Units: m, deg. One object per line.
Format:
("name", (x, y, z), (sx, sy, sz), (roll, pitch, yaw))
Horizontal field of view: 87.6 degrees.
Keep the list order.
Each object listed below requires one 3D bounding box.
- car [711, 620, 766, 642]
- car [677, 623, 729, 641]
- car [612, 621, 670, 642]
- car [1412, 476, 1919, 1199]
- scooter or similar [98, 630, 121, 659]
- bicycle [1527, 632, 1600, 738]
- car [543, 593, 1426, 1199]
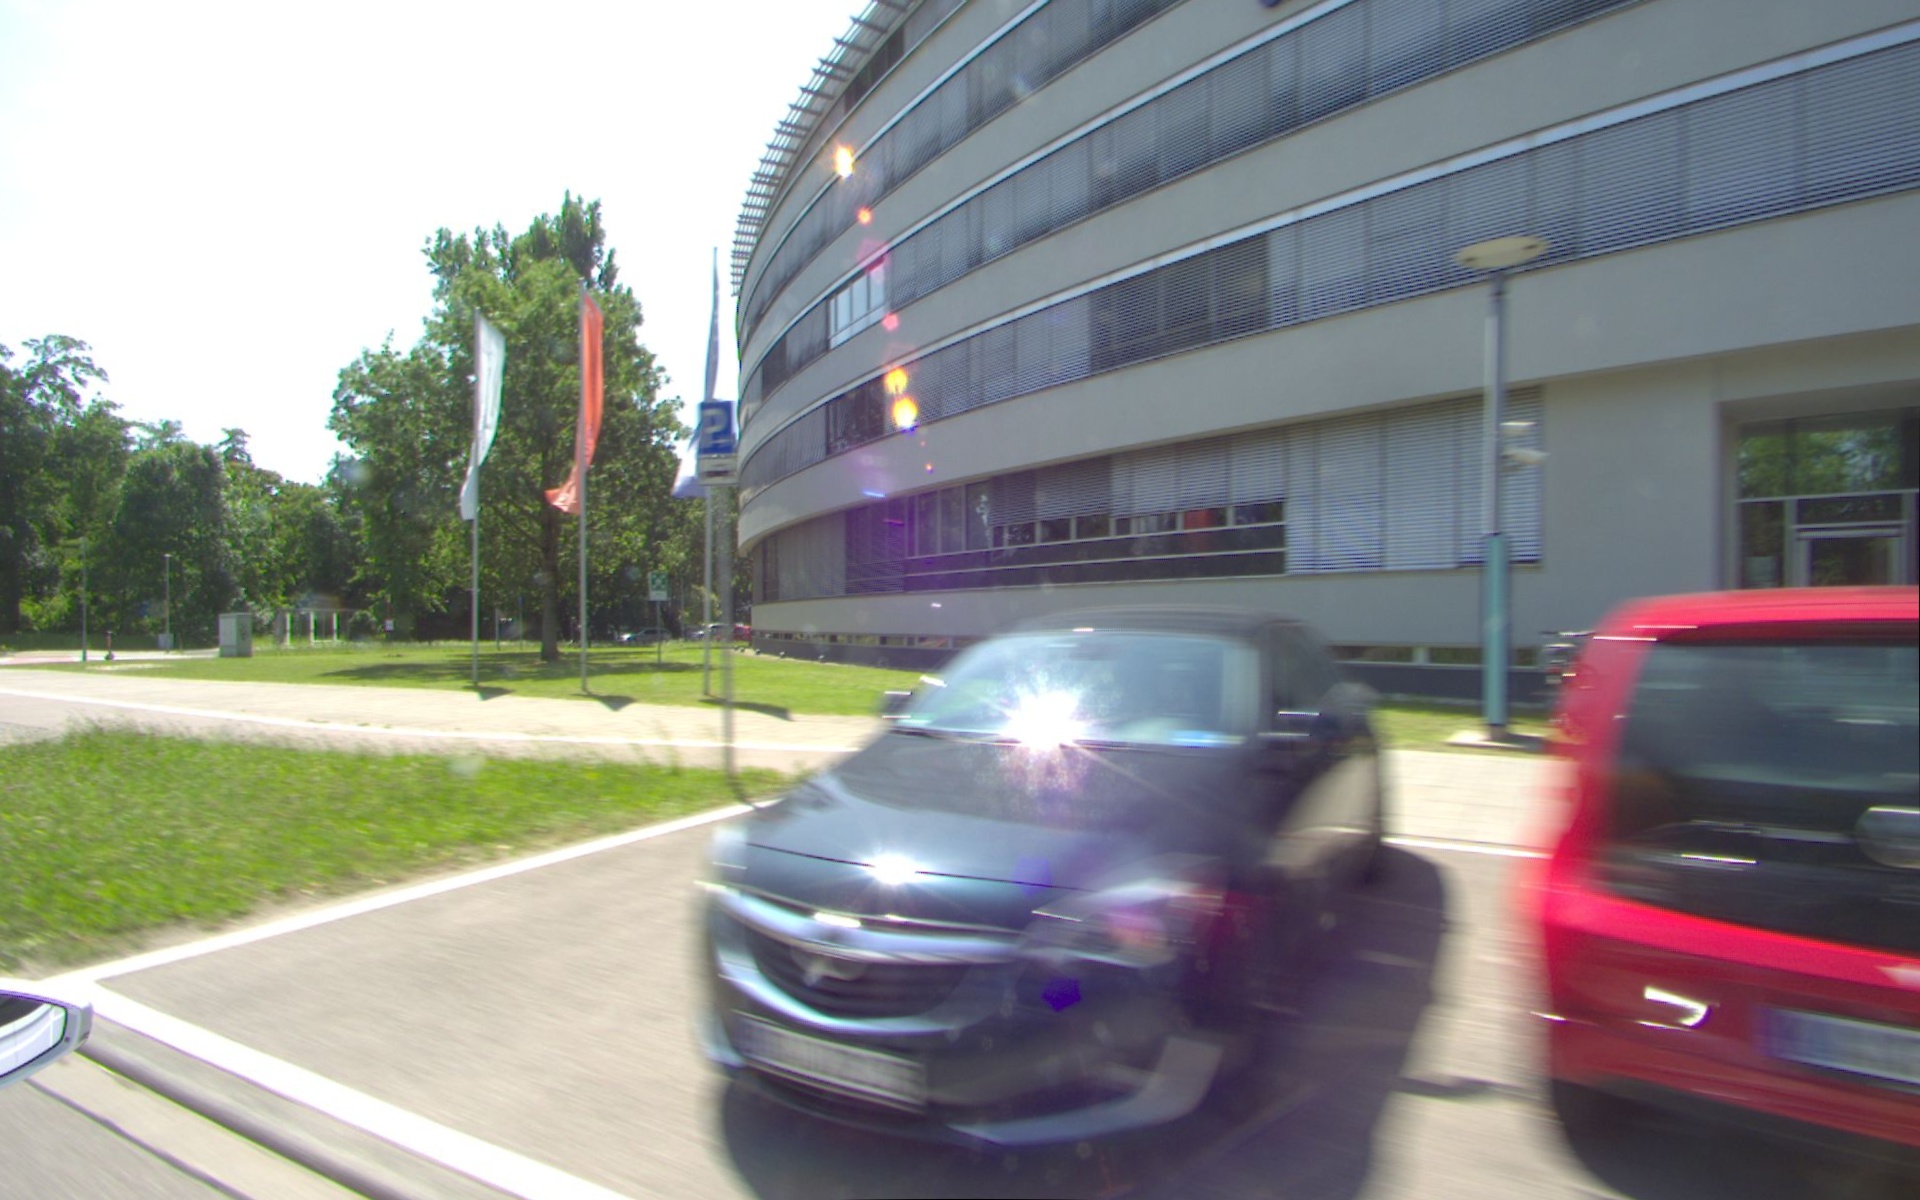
("car", (-15.710, 2.216, 70.950), (3.634, 1.502, 1.859), (-1, -2, 34))
("car", (-20.828, 2.550, 81.267), (1.862, 1.434, 3.764), (-1, -1, 40))
("car", (-24.307, 2.427, 76.418), (1.681, 1.505, 3.974), (2, 0, 37))
("car", (2.957, 0.622, 3.554), (1.814, 1.676, 3.977), (-1, -1, 34))
("scooter or similar", (-35.685, 1.858, 42.014), (0.441, 1.217, 1.392), (1, -2, -29))
("bicycle", (6.736, 0.907, 11.148), (0.527, 1.073, 1.872), (-1, -2, 36))
("car", (0.768, 0.734, 4.327), (1.801, 1.451, 4.558), (-1, 0, 31))
